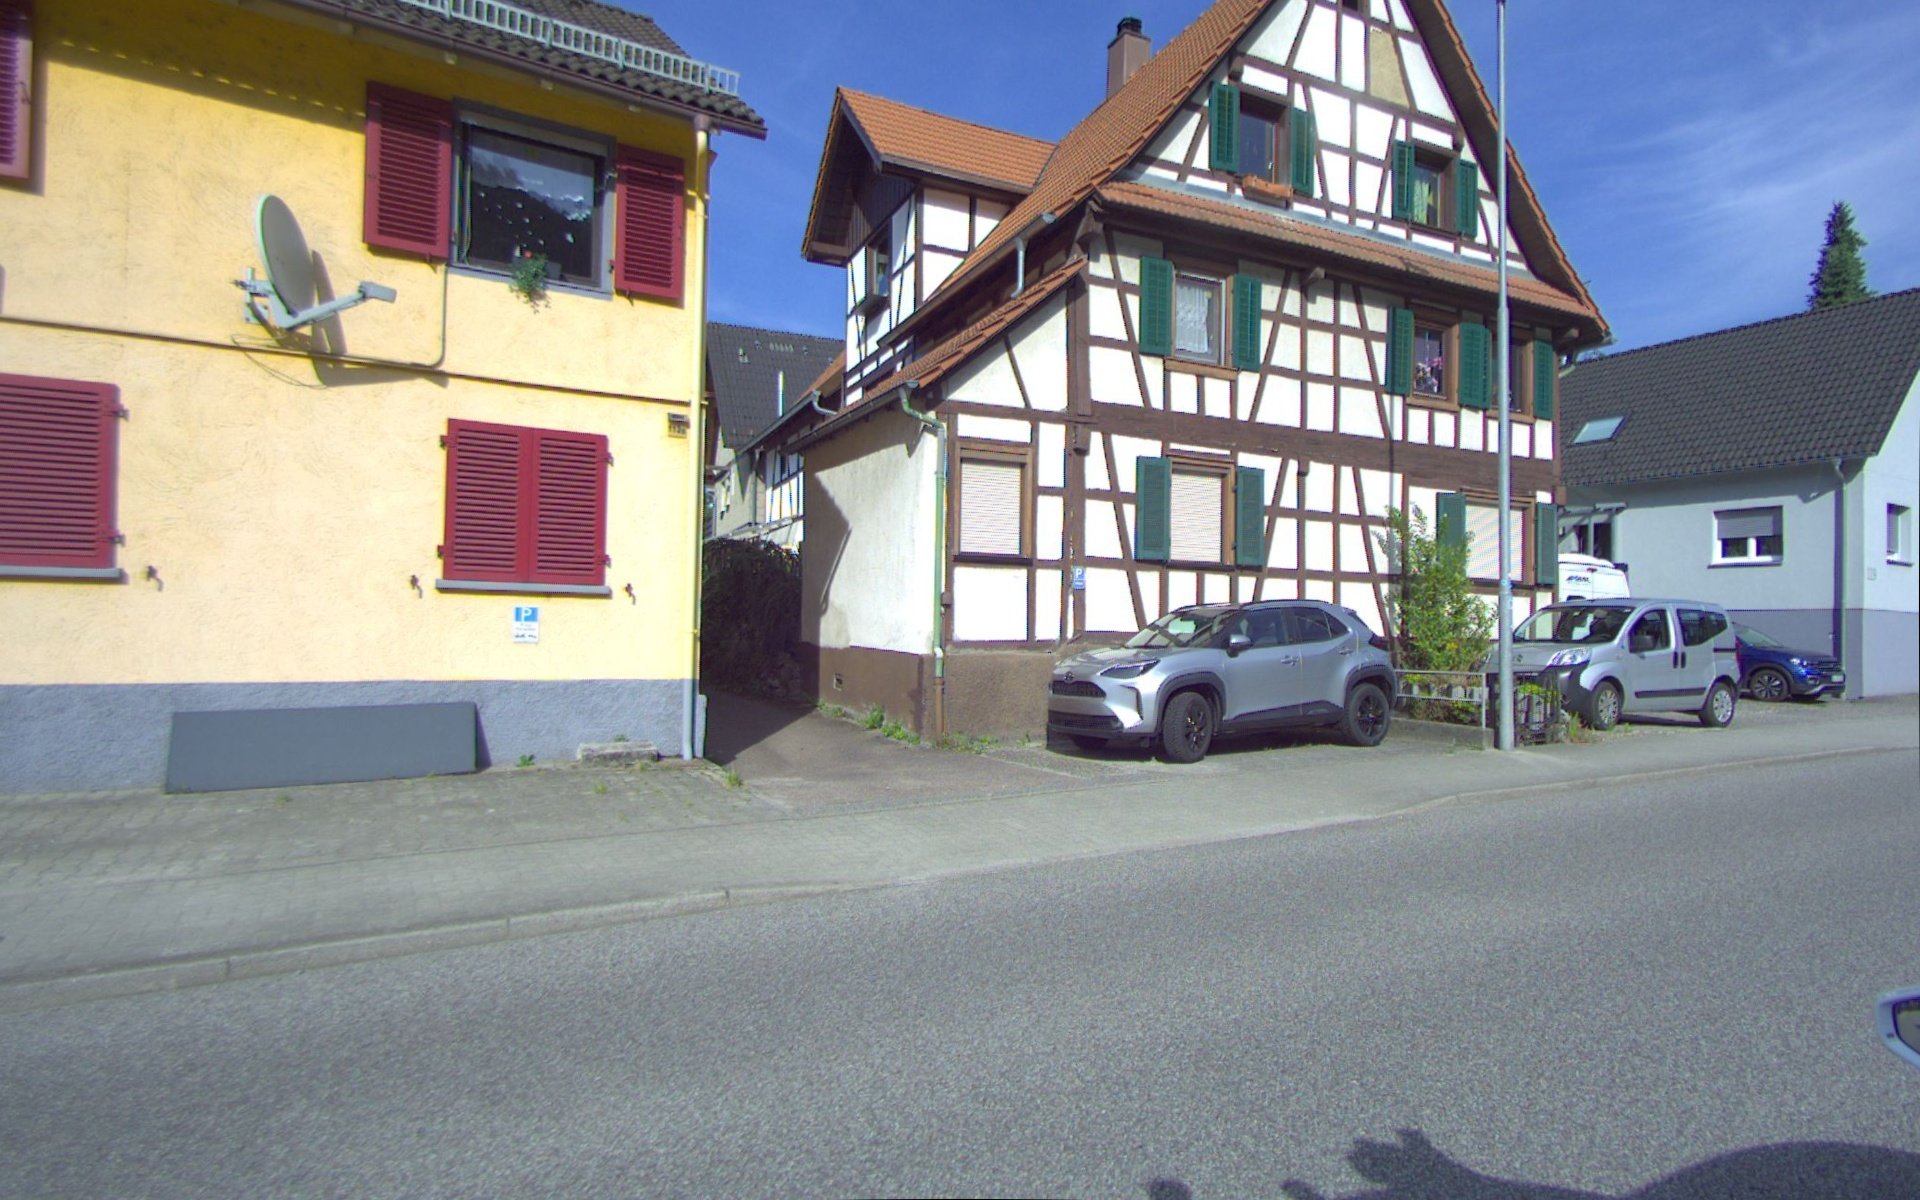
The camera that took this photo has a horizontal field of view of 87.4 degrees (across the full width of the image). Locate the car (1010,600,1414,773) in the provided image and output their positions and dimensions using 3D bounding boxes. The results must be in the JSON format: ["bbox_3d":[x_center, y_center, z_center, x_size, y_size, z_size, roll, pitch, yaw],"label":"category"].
[{"bbox_3d":[2.737,0.835,10.762,4.046,1.539,1.876,1,-2,-30],"label":"car"}]

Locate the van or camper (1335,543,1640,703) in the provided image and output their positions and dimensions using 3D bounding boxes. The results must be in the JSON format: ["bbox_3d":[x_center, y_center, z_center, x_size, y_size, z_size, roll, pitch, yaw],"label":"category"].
[{"bbox_3d":[10.087,0.405,19.799,2.160,2.699,5.167,1,0,-21],"label":"van or camper"}]

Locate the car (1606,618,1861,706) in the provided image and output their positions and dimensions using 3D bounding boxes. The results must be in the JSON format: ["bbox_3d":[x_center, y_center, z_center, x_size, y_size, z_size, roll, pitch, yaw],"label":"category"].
[{"bbox_3d":[16.436,1.245,21.562,1.884,1.570,3.901,1,1,-28],"label":"car"}]

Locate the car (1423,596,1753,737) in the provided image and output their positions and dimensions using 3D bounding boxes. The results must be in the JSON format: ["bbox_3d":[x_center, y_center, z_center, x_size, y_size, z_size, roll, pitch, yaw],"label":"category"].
[{"bbox_3d":[8.663,0.853,13.833,4.210,1.686,1.895,1,-1,-25],"label":"car"}]
